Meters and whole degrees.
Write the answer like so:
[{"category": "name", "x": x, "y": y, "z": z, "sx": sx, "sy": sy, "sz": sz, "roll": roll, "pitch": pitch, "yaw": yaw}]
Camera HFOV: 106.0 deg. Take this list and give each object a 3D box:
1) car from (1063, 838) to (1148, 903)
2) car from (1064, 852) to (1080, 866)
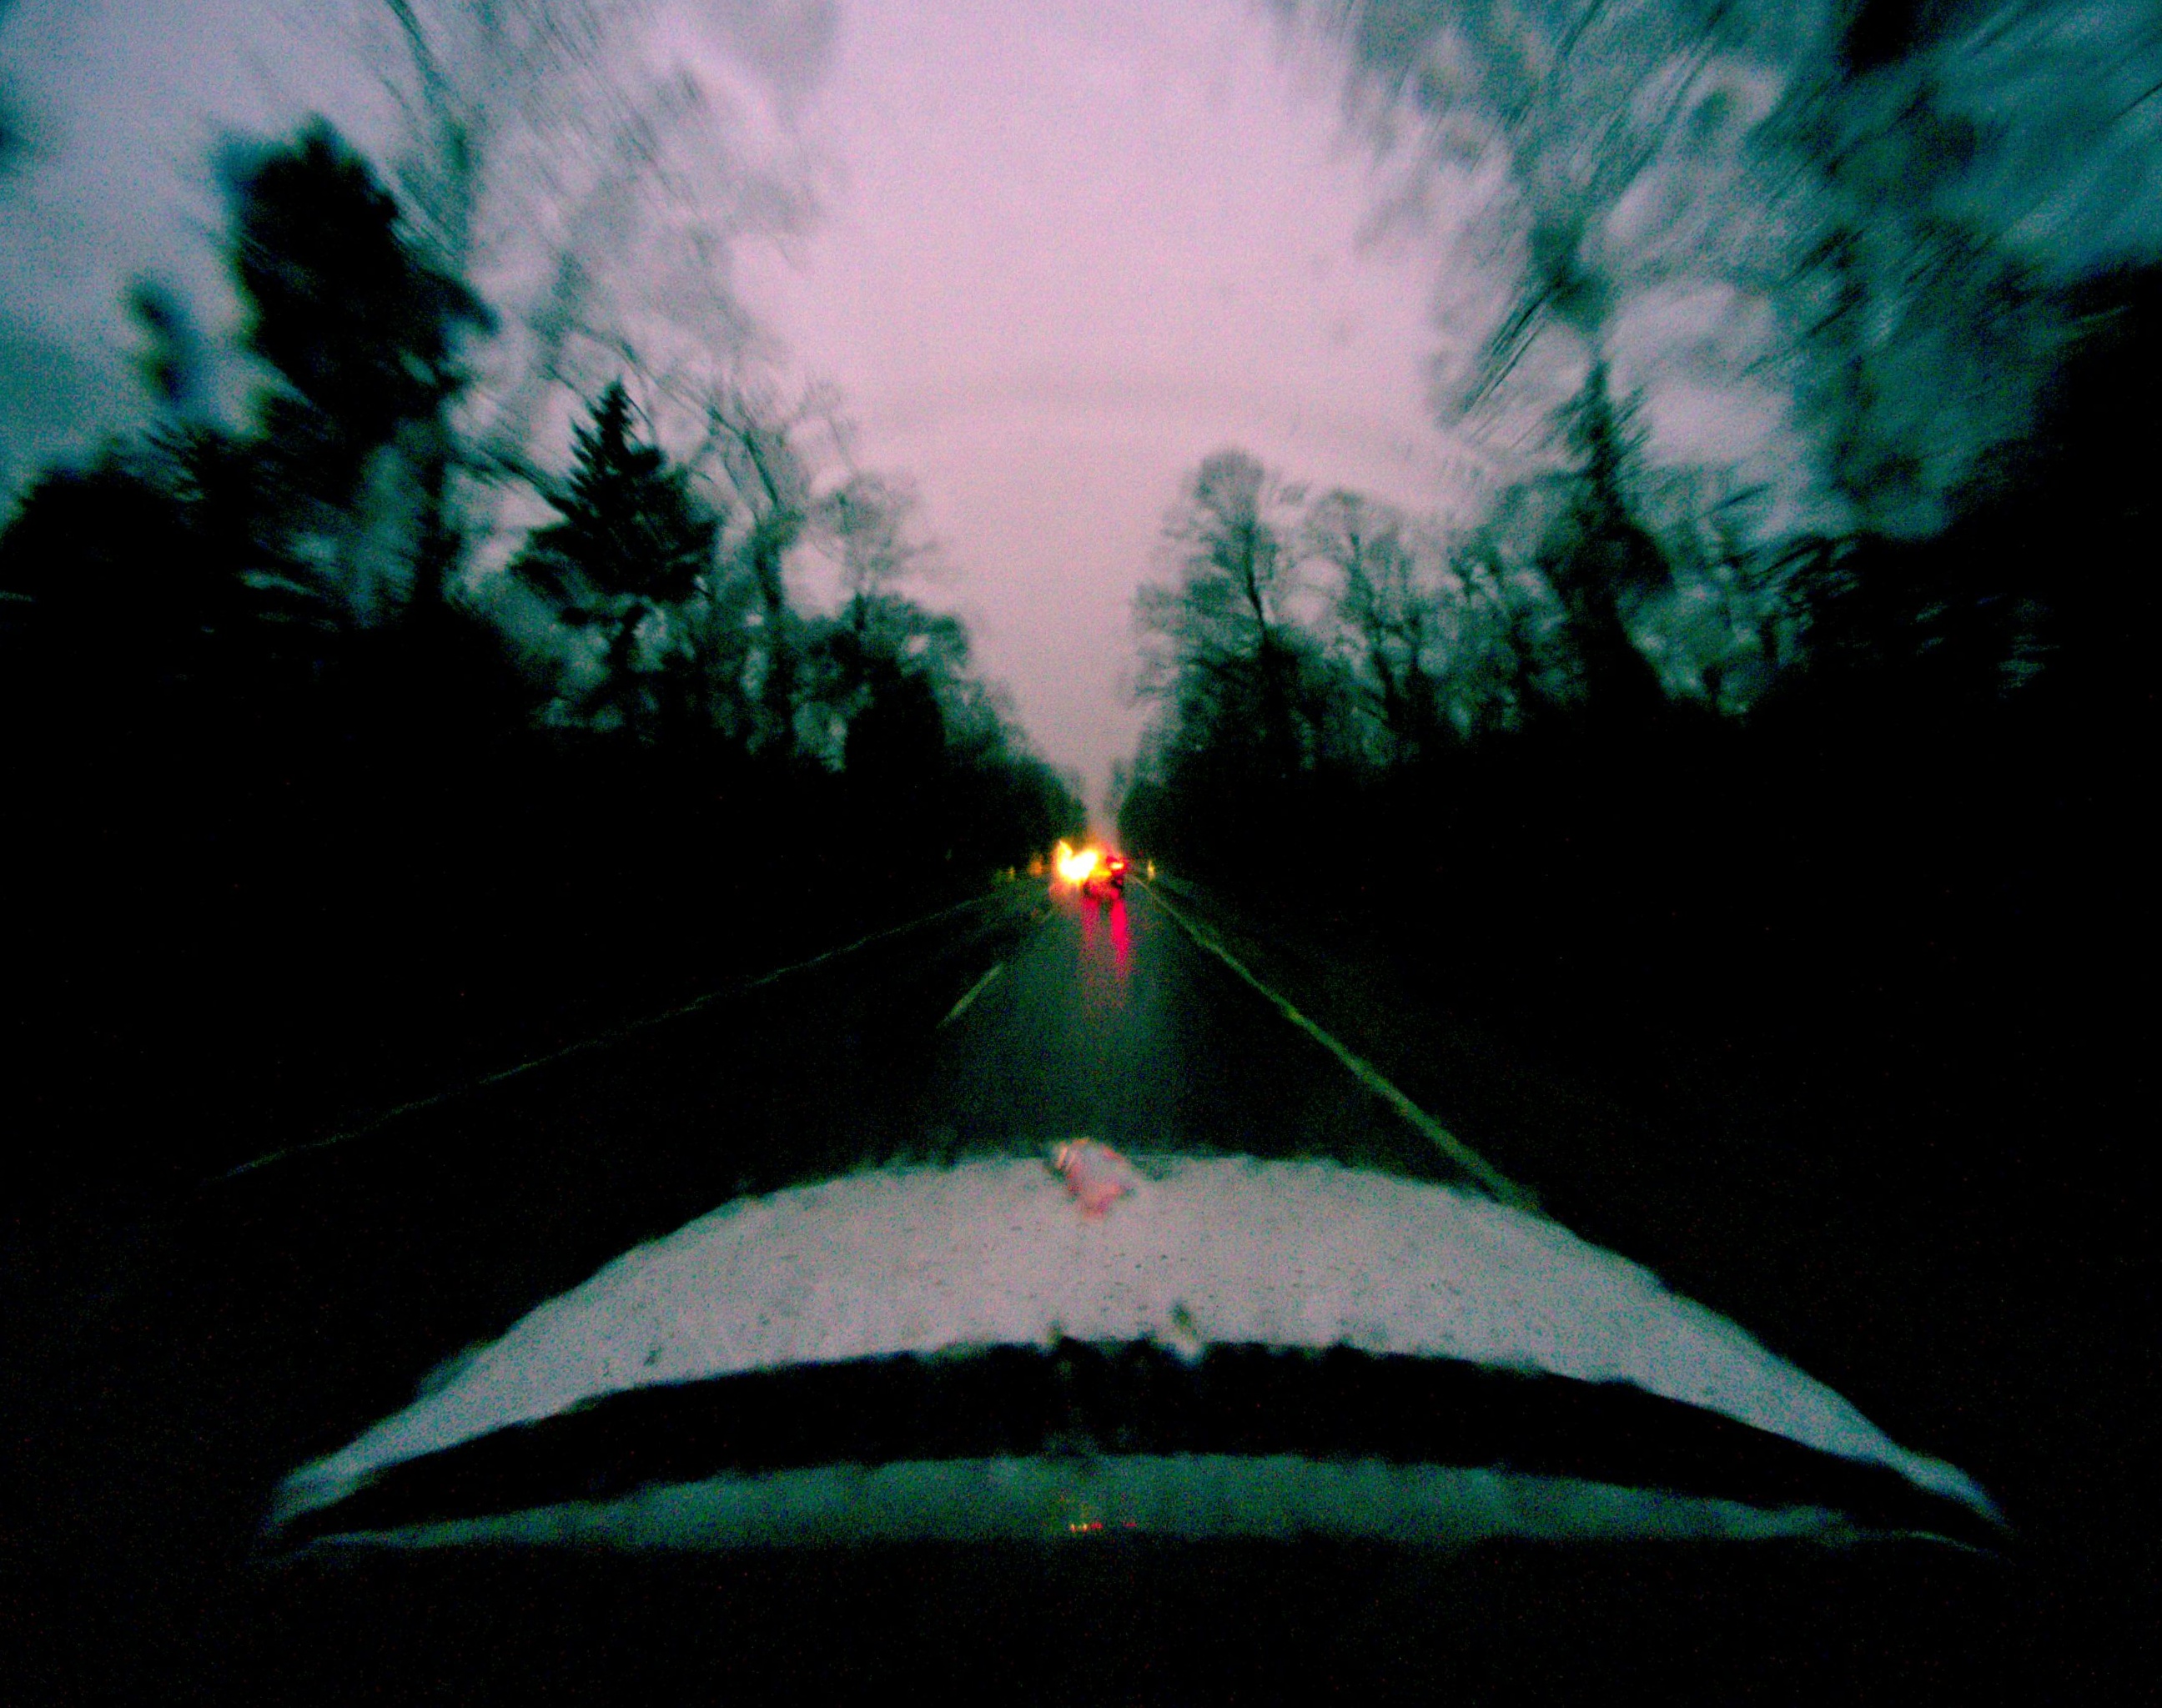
[{"category": "car", "x": 1.072, "y": 0.637, "z": 34.032, "sx": 3.171, "sy": 2.386, "sz": 6.640, "roll": -1, "pitch": 0, "yaw": 2}, {"category": "car", "x": -1.097, "y": 0.653, "z": 102.830, "sx": 1.793, "sy": 1.600, "sz": 3.863, "roll": -3, "pitch": 0, "yaw": 1}]
